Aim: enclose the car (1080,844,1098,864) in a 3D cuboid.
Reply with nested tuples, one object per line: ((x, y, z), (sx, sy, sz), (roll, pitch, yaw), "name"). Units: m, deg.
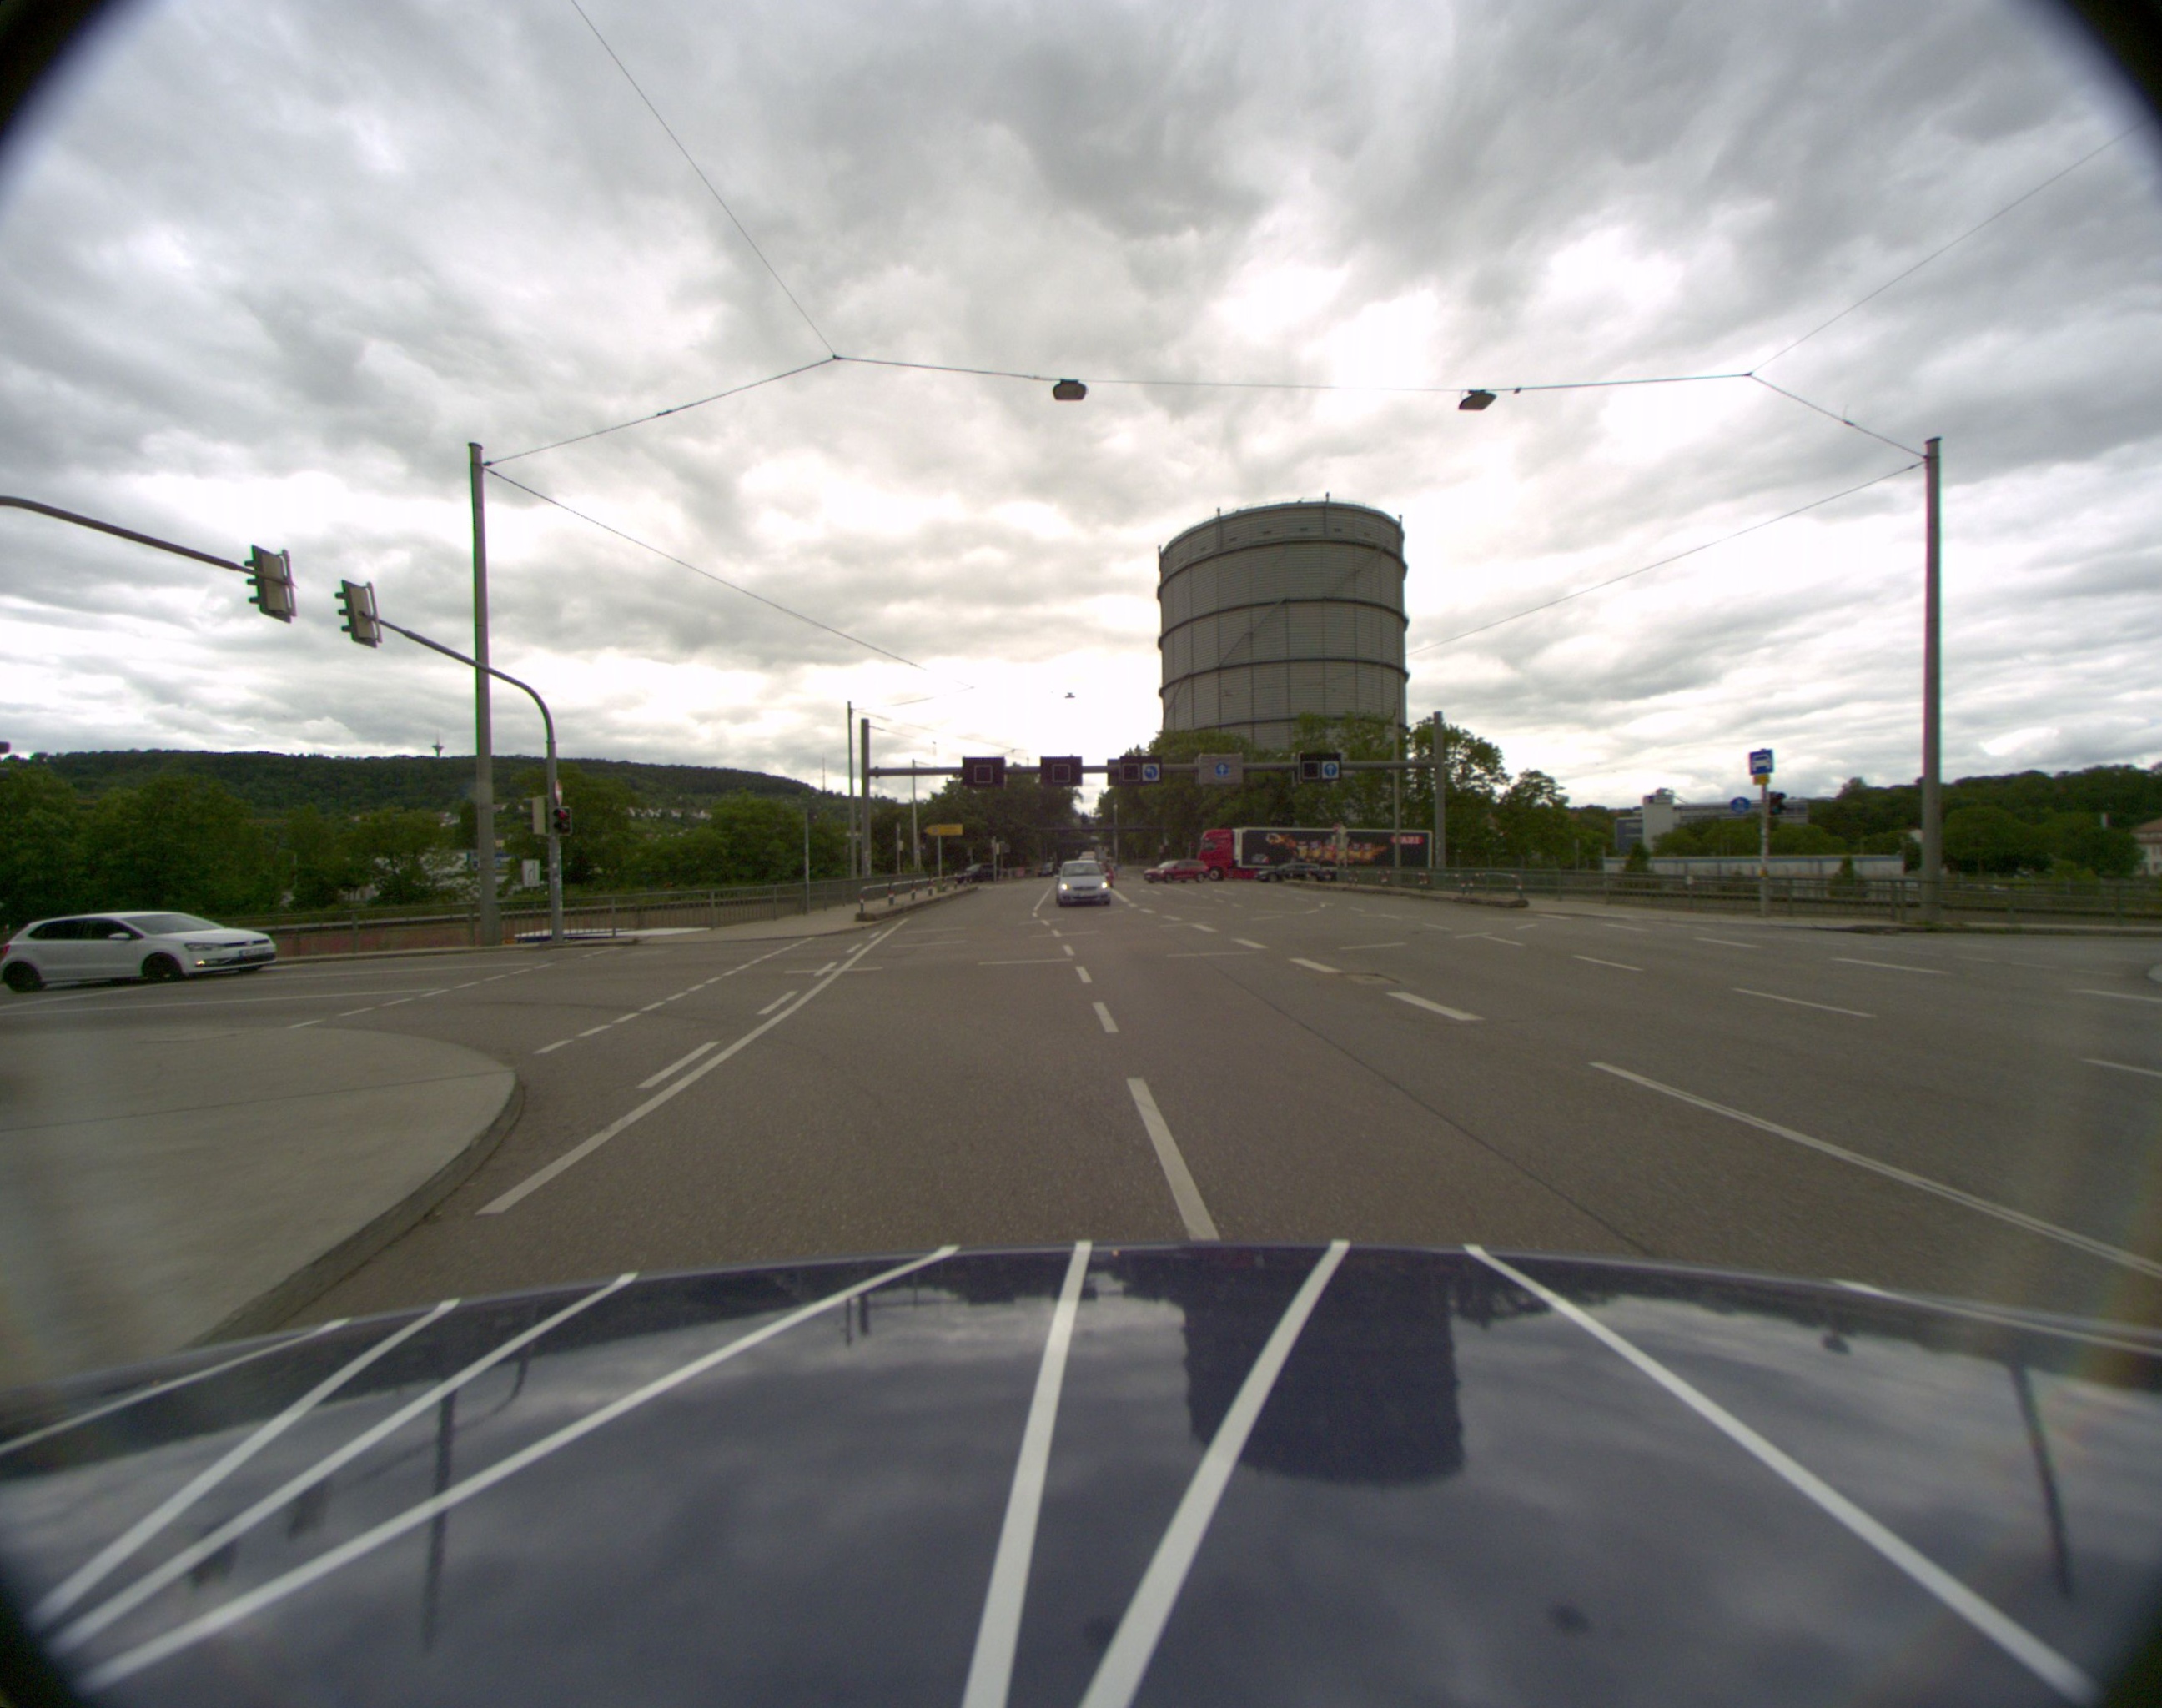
((1.065, -0.038, 100.172), (2.331, 2.509, 4.948), (1, 0, 0), "car")

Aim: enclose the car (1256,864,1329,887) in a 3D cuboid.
((14.408, 1.450, 51.901), (4.464, 1.412, 1.697), (1, 0, 0), "car")

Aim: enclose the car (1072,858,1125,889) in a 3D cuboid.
((0.974, 1.033, 40.752), (1.745, 1.455, 3.960), (-2, 0, 18), "car")

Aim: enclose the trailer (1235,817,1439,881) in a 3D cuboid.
((18.634, -0.358, 56.256), (13.764, 4.296, 3.673), (1, 0, 6), "trailer")

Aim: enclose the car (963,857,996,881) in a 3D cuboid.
((-9.249, 1.345, 69.497), (2.331, 1.905, 4.946), (0, 2, 0), "car")

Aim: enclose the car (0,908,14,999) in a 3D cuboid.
((-20.297, 1.829, 12.065), (4.006, 1.531, 1.695), (-3, 2, -2), "car")

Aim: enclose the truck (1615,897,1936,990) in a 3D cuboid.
((35.652, 4.586, 39.476), (13.242, 4.331, 2.891), (-1, 1, 5), "truck")

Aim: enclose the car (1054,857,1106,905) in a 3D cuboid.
((-0.092, 0.946, 28.217), (1.747, 1.594, 3.681), (-2, 0, -2), "car")

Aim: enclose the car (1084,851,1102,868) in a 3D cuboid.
((1.365, 0.656, 88.151), (1.933, 1.987, 4.453), (0, -1, 0), "car")

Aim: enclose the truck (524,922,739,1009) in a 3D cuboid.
((-24.913, 6.151, 42.508), (10.018, 4.161, 2.901), (-1, 3, -2), "truck")

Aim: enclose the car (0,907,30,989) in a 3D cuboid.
((-24.005, 2.057, 14.690), (4.340, 1.610, 1.999), (-3, 2, -1), "car")

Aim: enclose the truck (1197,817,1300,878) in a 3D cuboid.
((12.607, -0.480, 57.174), (7.221, 4.296, 3.676), (1, 0, 14), "truck")

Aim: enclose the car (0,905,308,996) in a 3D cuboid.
((-18.167, 1.851, 15.005), (3.763, 1.306, 1.790), (-3, 2, -3), "car")

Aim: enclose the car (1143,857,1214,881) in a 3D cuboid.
((6.311, 0.944, 48.775), (4.475, 1.412, 1.693), (-1, 0, -33), "car")
